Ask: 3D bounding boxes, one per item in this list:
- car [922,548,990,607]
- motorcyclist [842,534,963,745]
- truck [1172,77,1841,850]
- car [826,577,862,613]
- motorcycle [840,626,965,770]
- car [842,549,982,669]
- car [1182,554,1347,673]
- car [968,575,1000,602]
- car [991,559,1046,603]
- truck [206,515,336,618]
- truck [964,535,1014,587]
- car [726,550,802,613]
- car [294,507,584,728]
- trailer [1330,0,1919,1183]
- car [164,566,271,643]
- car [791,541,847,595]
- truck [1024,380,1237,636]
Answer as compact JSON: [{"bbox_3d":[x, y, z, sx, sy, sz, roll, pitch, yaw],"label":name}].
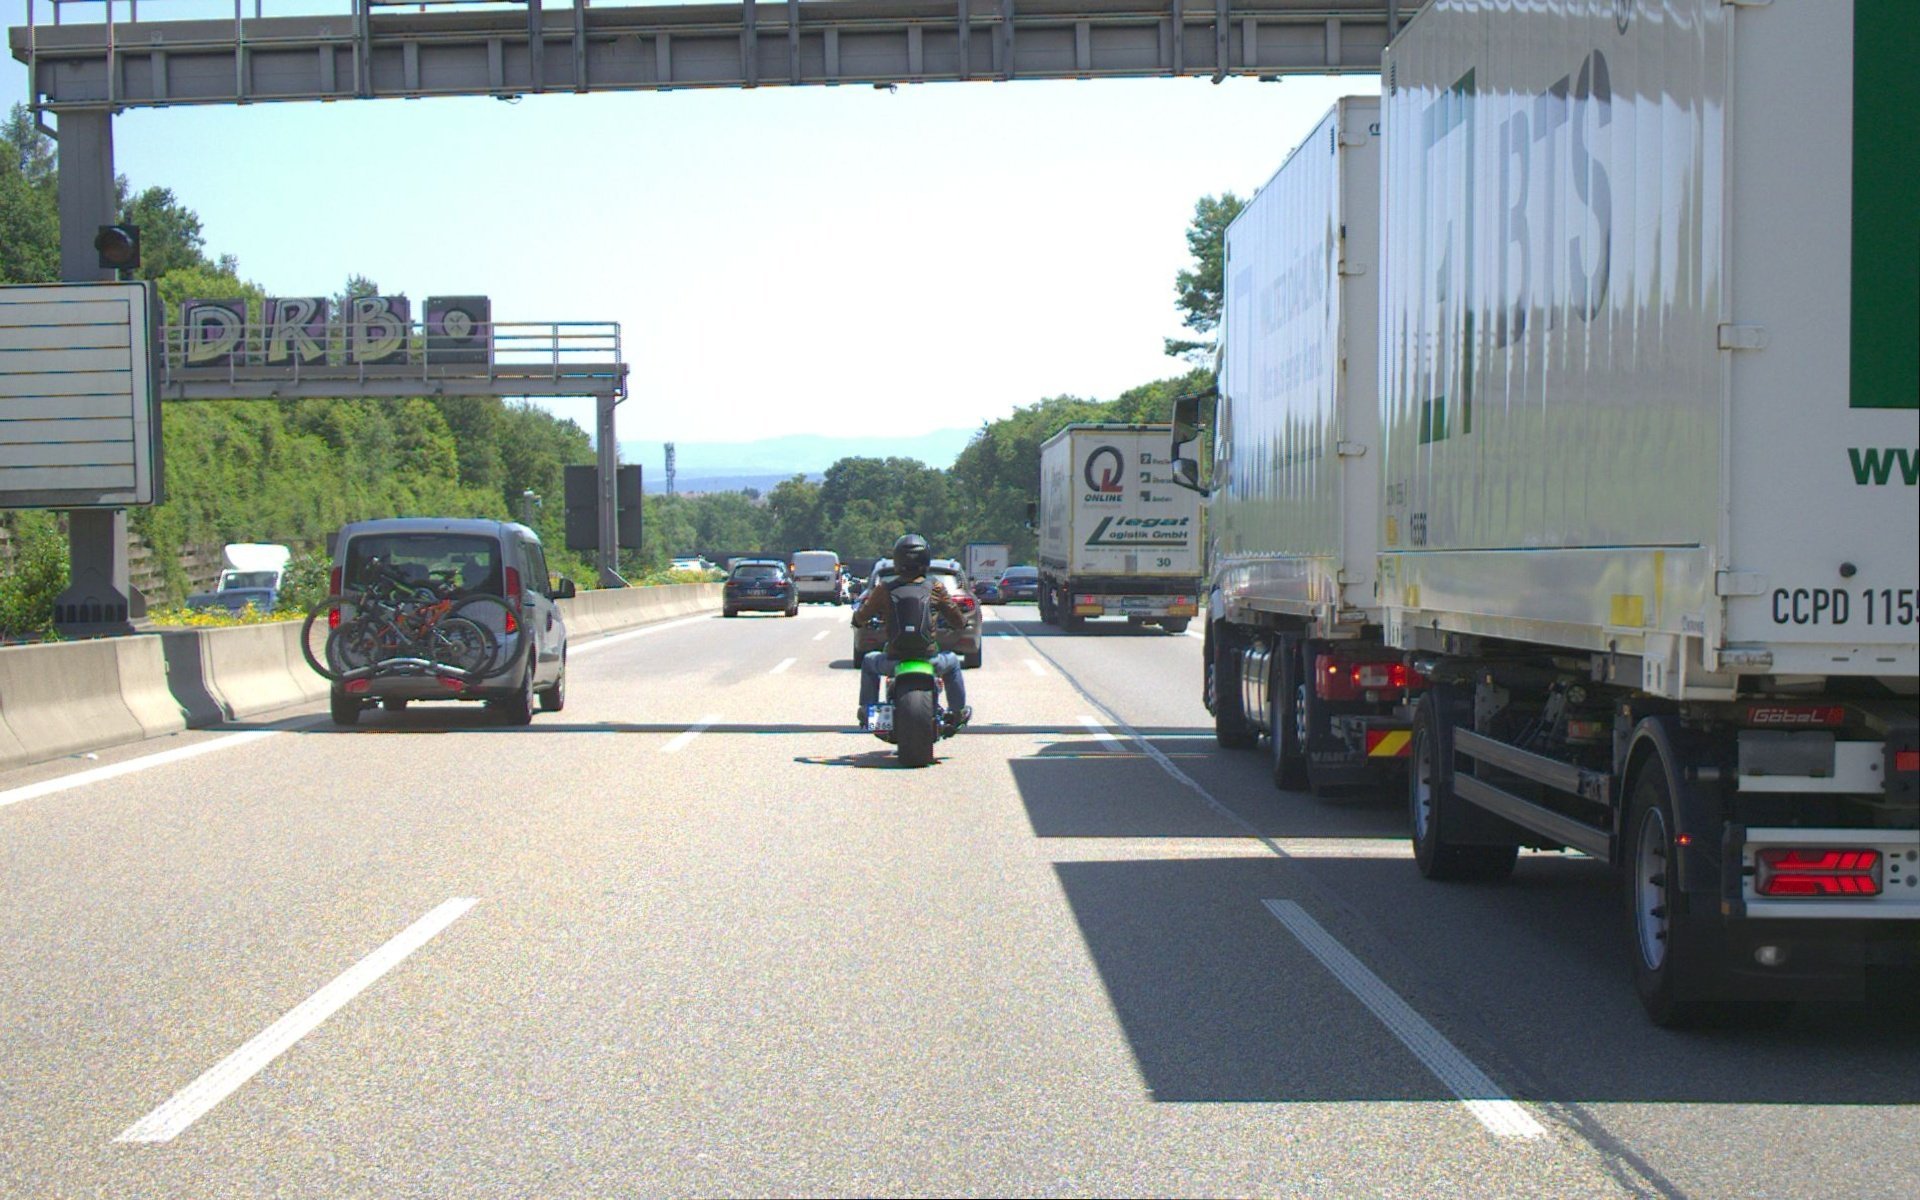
[{"bbox_3d":[-0.127,-0.647,95.259,1.831,1.553,4.120,1,1,-1],"label":"car"},{"bbox_3d":[-0.412,0.278,25.055,0.856,1.510,0.914,0,0,0],"label":"motorcyclist"},{"bbox_3d":[3.201,-0.792,23.407,2.680,4.045,10.626,0,1,-1],"label":"truck"},{"bbox_3d":[-6.138,-0.290,181.999,1.831,1.804,4.120,1,1,-1],"label":"car"},{"bbox_3d":[-0.401,0.698,25.218,0.862,0.978,2.131,0,0,0],"label":"motorcycle"},{"bbox_3d":[-0.674,0.086,48.057,1.845,1.552,4.440,1,1,-1],"label":"car"},{"bbox_3d":[4.235,0.152,48.409,1.845,1.552,4.392,1,1,-1],"label":"car"},{"bbox_3d":[1.420,-0.712,205.629,1.831,1.521,4.027,1,1,-1],"label":"car"},{"bbox_3d":[2.096,-0.701,123.277,1.831,1.521,4.027,1,1,-1],"label":"car"},{"bbox_3d":[-21.097,-1.061,105.606,2.579,2.982,7.063,-2,1,-1],"label":"truck"},{"bbox_3d":[1.911,-2.603,229.191,3.067,3.335,9.652,1,1,-1],"label":"truck"},{"bbox_3d":[-5.009,-0.502,88.294,1.758,1.538,4.395,1,1,-1],"label":"car"},{"bbox_3d":[-4.676,0.126,31.641,1.898,1.841,5.483,1,0,-1],"label":"car"},{"bbox_3d":[3.373,-0.786,13.037,2.680,4.161,10.066,0,1,-1],"label":"trailer"},{"bbox_3d":[-15.737,0.078,72.986,1.515,1.530,3.550,-2,1,-1],"label":"car"},{"bbox_3d":[-4.912,-1.132,120.024,1.831,1.804,4.120,1,1,-1],"label":"car"},{"bbox_3d":[3.354,-1.857,73.243,3.383,4.702,17.709,1,1,-1],"label":"truck"}]
